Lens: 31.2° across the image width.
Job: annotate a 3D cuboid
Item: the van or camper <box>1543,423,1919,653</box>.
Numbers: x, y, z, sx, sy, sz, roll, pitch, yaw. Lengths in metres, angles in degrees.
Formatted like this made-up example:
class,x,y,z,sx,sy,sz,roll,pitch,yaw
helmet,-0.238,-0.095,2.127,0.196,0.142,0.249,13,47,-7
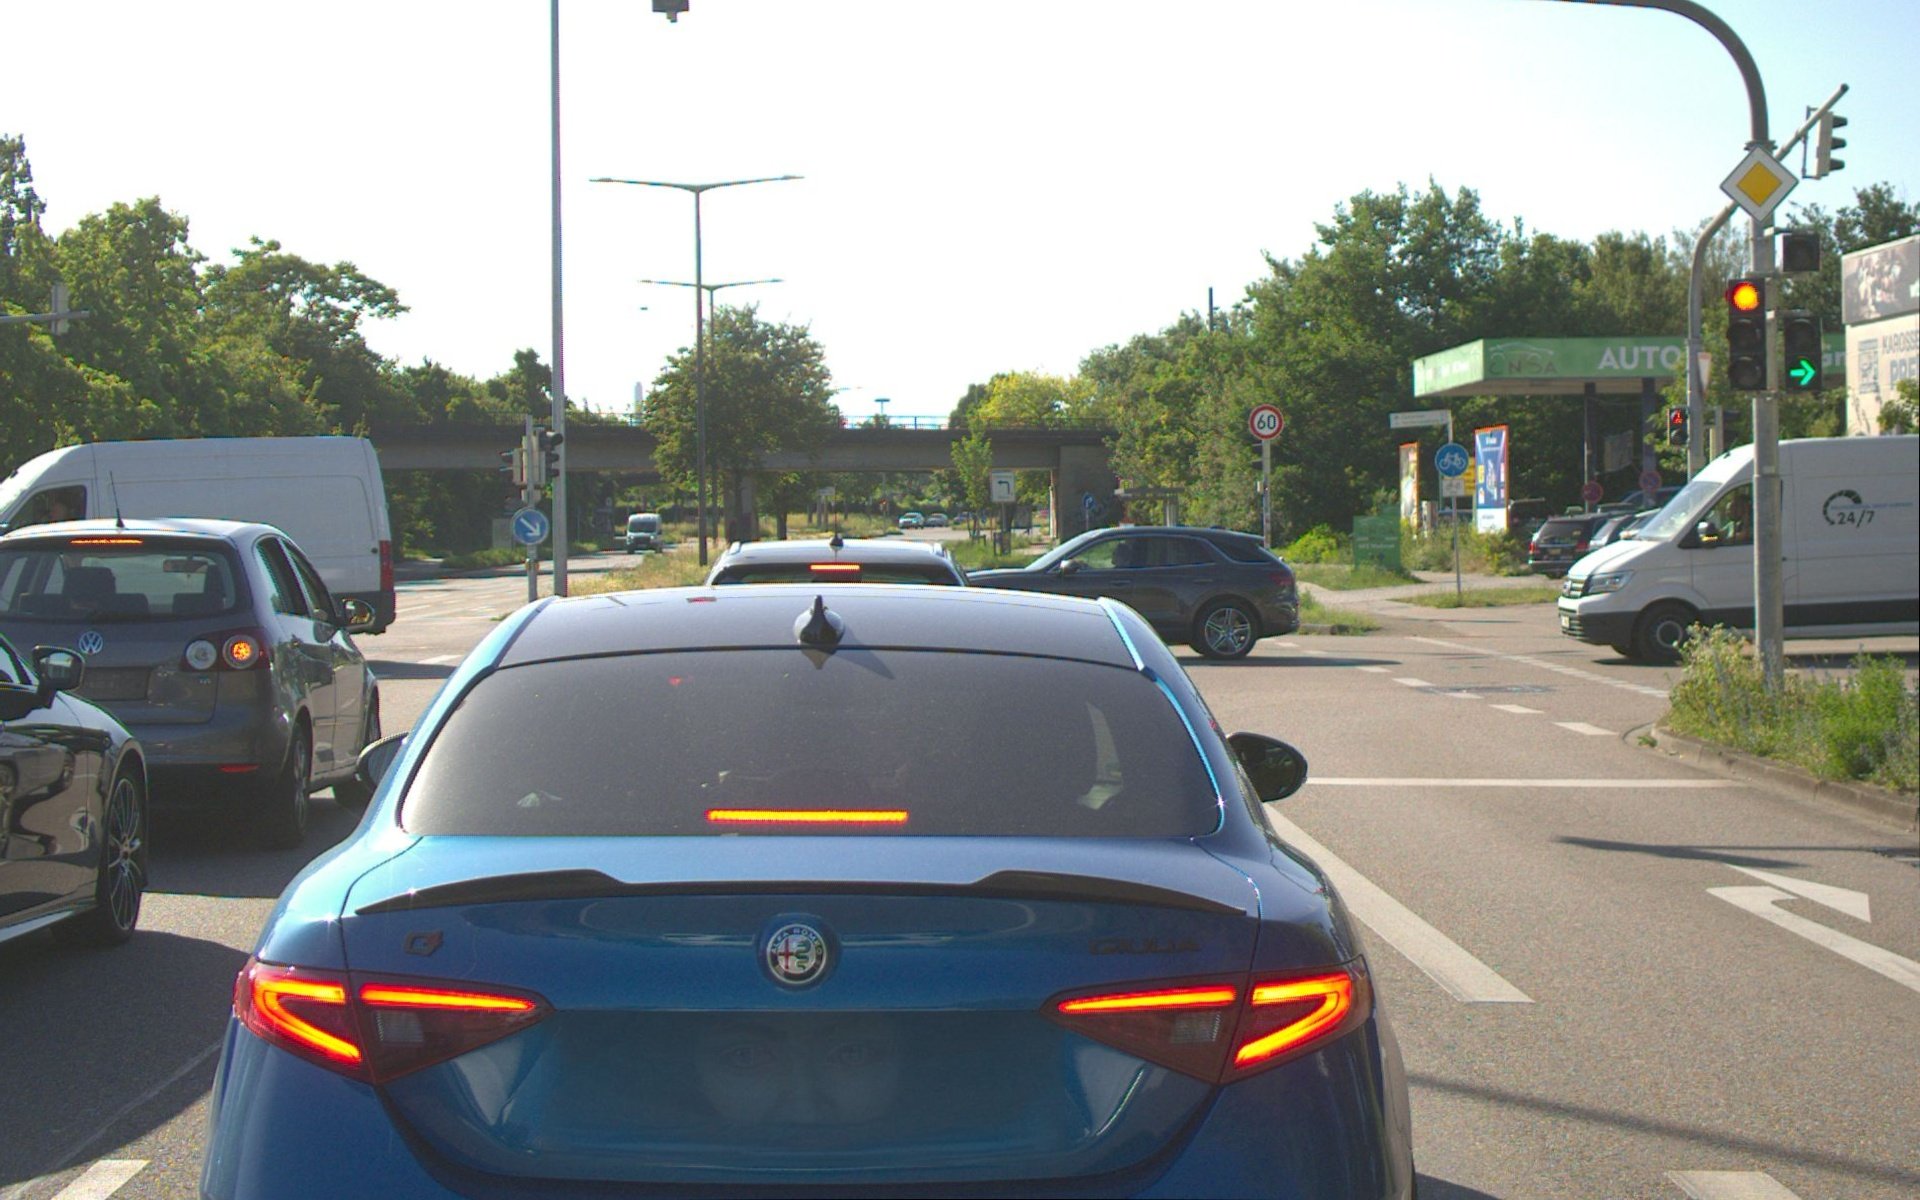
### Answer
class,x,y,z,sx,sy,sz,roll,pitch,yaw
van or camper,10.268,-0.724,39.581,6.731,2.563,2.185,0,1,-1

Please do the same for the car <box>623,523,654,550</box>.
class,x,y,z,sx,sy,sz,roll,pitch,yaw
car,-20.355,-4.006,217.620,1.822,1.688,3.837,0,1,-3

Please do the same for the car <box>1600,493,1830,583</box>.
class,x,y,z,sx,sy,sz,roll,pitch,yaw
car,14.508,-1.193,66.114,3.986,1.700,1.696,-1,1,-16

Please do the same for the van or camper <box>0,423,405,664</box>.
class,x,y,z,sx,sy,sz,roll,pitch,yaw
van or camper,-9.519,-0.654,39.307,5.936,2.641,2.000,-1,1,-28

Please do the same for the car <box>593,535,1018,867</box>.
class,x,y,z,sx,sy,sz,roll,pitch,yaw
car,-0.702,0.409,17.086,1.866,1.445,3.932,0,1,-1

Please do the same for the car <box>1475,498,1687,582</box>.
class,x,y,z,sx,sy,sz,roll,pitch,yaw
car,12.817,-1.247,70.970,3.986,1.700,1.696,-1,1,-19

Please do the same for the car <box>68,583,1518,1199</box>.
class,x,y,z,sx,sy,sz,roll,pitch,yaw
car,-0.239,0.695,6.404,1.866,1.380,3.932,0,1,-1

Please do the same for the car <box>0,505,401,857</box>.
class,x,y,z,sx,sy,sz,roll,pitch,yaw
car,-3.989,0.327,17.594,1.648,1.593,3.932,0,1,-1

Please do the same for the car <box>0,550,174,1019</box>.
class,x,y,z,sx,sy,sz,roll,pitch,yaw
car,-3.809,0.568,10.647,1.768,1.409,4.461,0,1,-1

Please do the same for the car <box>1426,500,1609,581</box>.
class,x,y,z,sx,sy,sz,roll,pitch,yaw
car,12.016,-1.285,74.161,3.483,1.700,1.696,-1,1,-16

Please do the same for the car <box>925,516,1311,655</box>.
class,x,y,z,sx,sy,sz,roll,pitch,yaw
car,1.887,-0.202,42.133,4.598,1.647,2.000,0,1,-1
